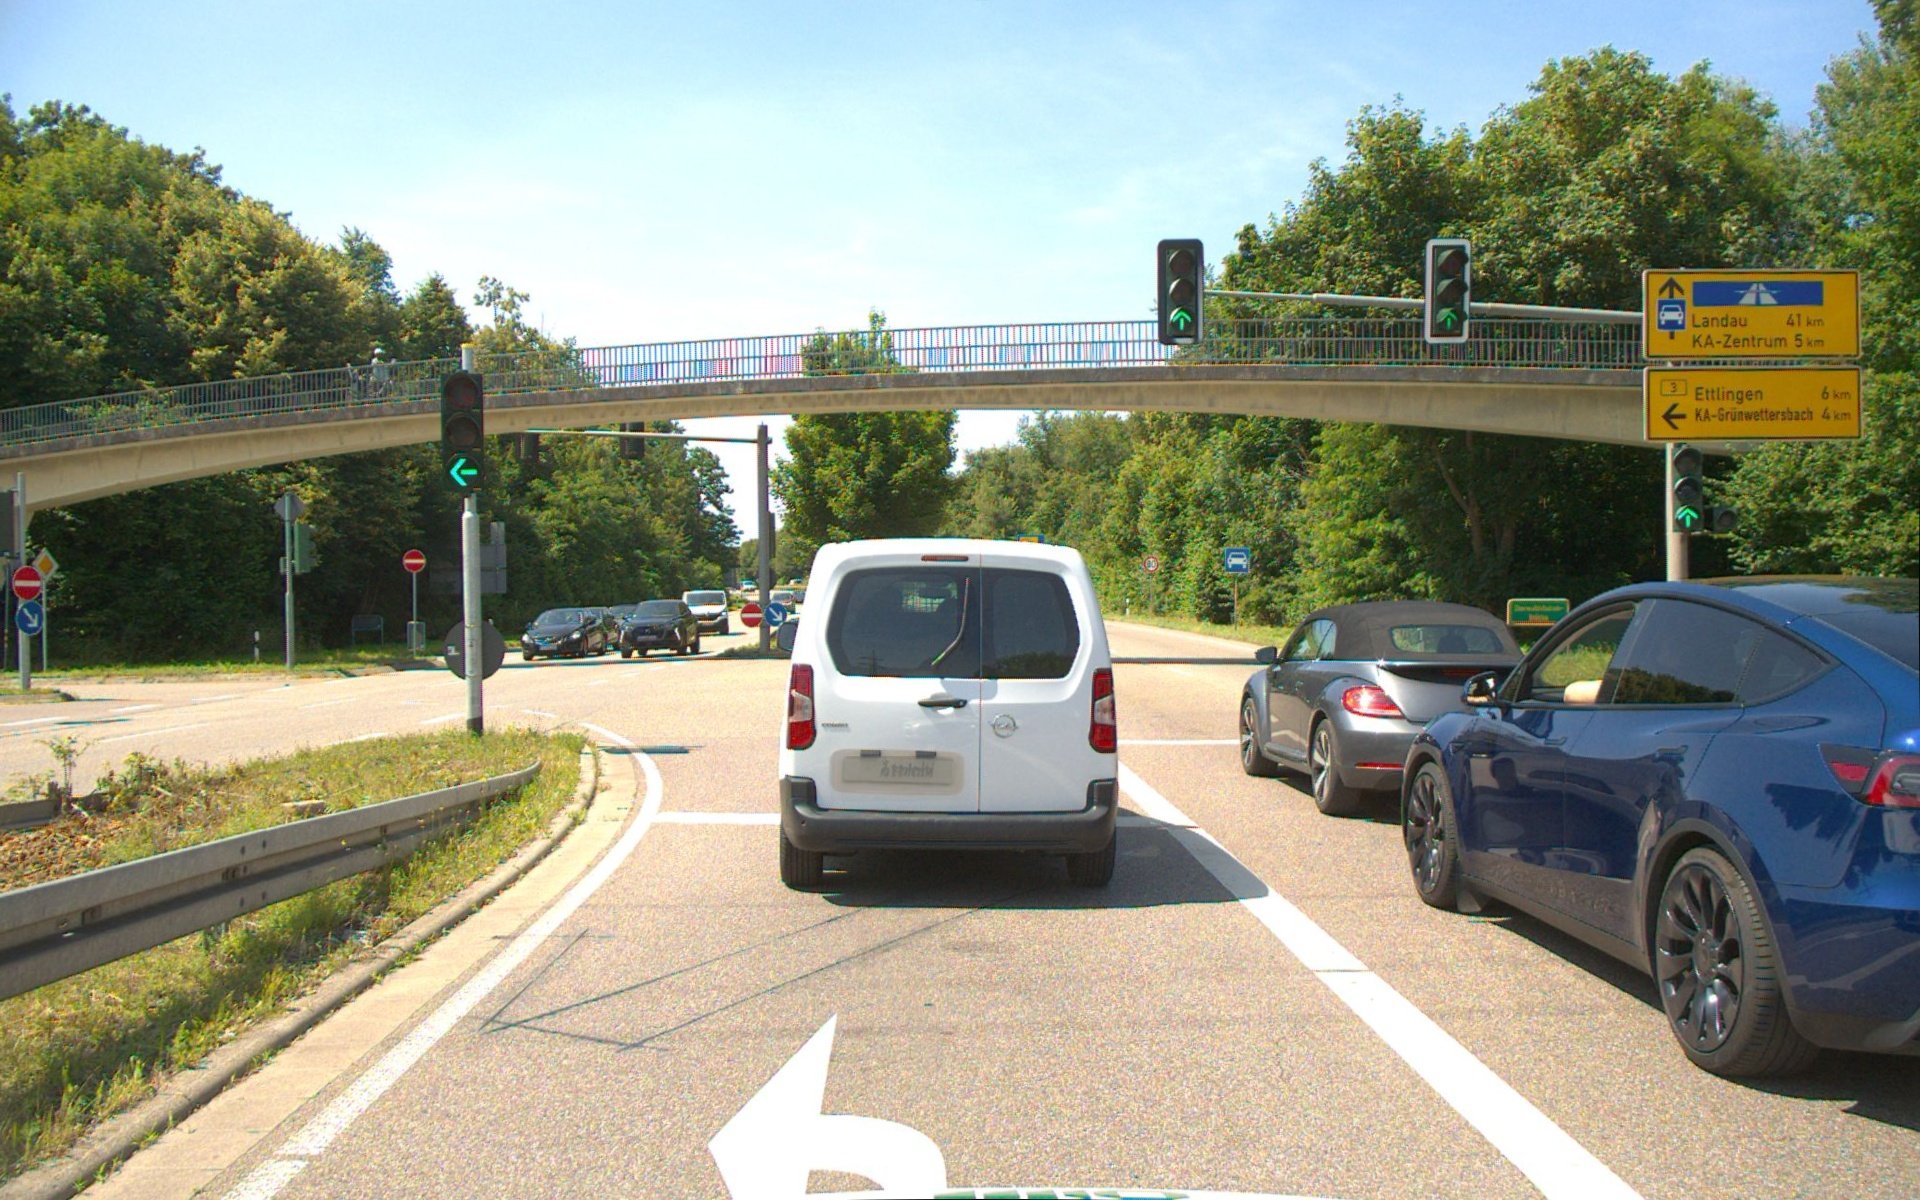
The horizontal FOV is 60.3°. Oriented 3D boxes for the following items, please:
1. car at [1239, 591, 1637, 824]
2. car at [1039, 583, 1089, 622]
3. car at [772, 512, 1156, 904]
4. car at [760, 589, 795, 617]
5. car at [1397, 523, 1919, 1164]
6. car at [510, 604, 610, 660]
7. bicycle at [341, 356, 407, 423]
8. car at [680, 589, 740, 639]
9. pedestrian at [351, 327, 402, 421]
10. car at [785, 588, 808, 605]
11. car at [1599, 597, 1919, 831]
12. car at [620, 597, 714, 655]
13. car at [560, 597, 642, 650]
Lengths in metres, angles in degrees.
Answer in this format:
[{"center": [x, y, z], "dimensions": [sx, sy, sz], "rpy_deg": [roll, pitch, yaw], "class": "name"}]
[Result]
[{"center": [3.459, 0.695, 12.779], "dimensions": [1.862, 1.503, 3.938], "rpy_deg": [1, 0, -1], "class": "car"}, {"center": [4.883, 0.086, 78.331], "dimensions": [2.000, 1.728, 5.086], "rpy_deg": [-1, 1, 0], "class": "car"}, {"center": [-0.040, 0.489, 9.905], "dimensions": [1.812, 1.857, 3.980], "rpy_deg": [1, 1, -2], "class": "car"}, {"center": [-14.081, 0.240, 127.689], "dimensions": [2.164, 2.028, 4.732], "rpy_deg": [-2, 0, -1], "class": "car"}, {"center": [3.317, 0.638, 6.605], "dimensions": [1.862, 1.673, 4.519], "rpy_deg": [1, 0, -1], "class": "car"}, {"center": [-11.672, 0.915, 48.555], "dimensions": [1.967, 1.486, 4.054], "rpy_deg": [-2, 0, -1], "class": "car"}, {"center": [-14.588, -5.232, 41.169], "dimensions": [1.494, 1.500, 0.470], "rpy_deg": [-3, -2, 15], "class": "bicycle"}, {"center": [-10.967, 0.611, 72.857], "dimensions": [2.165, 2.028, 5.482], "rpy_deg": [-2, 0, -5], "class": "car"}, {"center": [-14.611, -5.647, 41.411], "dimensions": [0.765, 2.177, 0.932], "rpy_deg": [-3, -2, 15], "class": "pedestrian"}, {"center": [-17.059, -0.367, 172.855], "dimensions": [1.967, 1.629, 4.054], "rpy_deg": [-2, 0, -1], "class": "car"}, {"center": [6.823, 0.749, 12.962], "dimensions": [1.862, 1.503, 4.379], "rpy_deg": [1, 0, -1], "class": "car"}, {"center": [-8.143, 0.693, 46.305], "dimensions": [1.953, 1.550, 4.027], "rpy_deg": [-1, 0, -1], "class": "car"}, {"center": [-12.185, 0.759, 56.385], "dimensions": [1.953, 1.694, 3.999], "rpy_deg": [-1, 0, -1], "class": "car"}]
